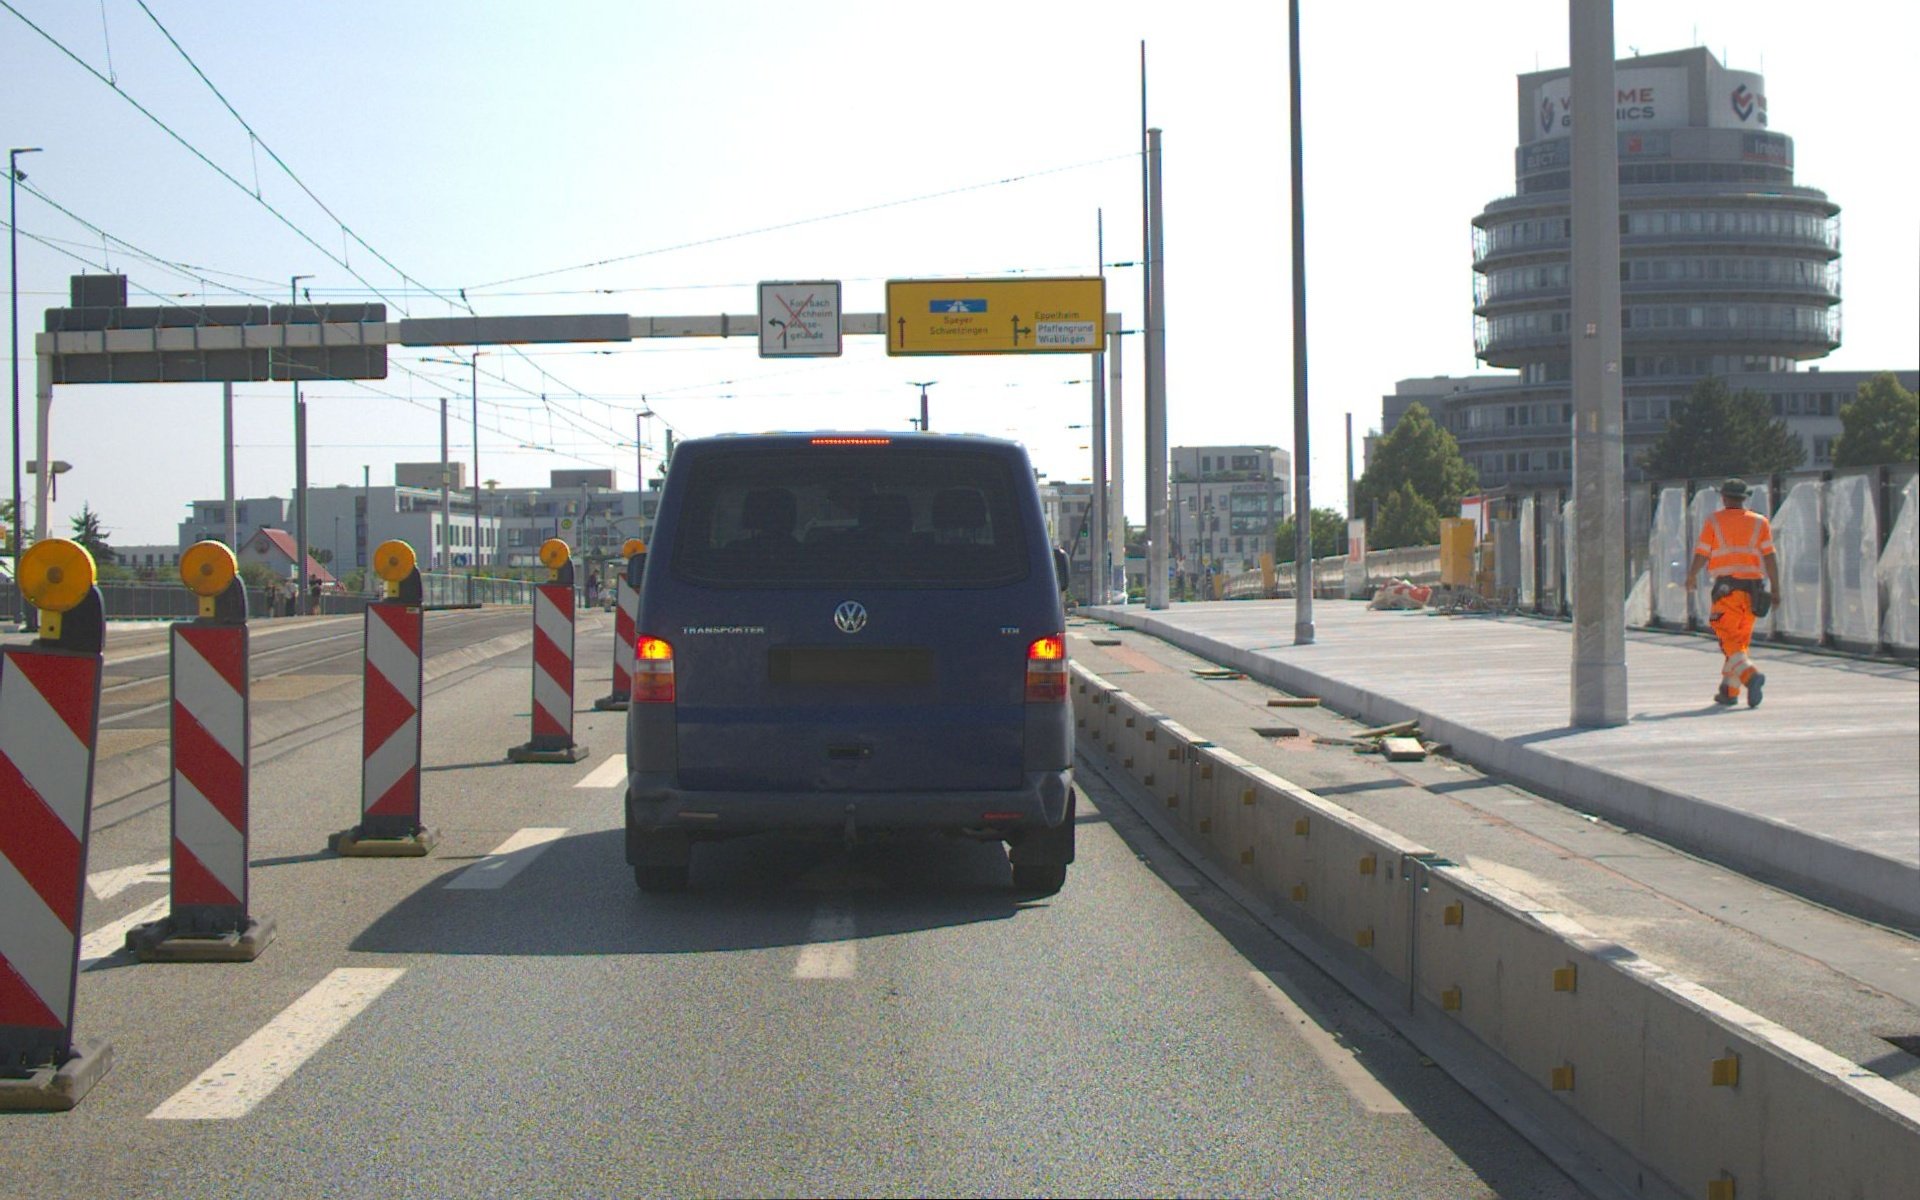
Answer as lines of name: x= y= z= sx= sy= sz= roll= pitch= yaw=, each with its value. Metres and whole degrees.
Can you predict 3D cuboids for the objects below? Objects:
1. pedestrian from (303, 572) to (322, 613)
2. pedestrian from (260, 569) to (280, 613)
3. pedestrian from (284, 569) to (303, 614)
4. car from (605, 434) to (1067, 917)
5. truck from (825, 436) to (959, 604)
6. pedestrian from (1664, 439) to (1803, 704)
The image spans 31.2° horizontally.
pedestrian: x=-25.905 y=-0.305 z=137.570 sx=0.634 sy=1.593 sz=0.752 roll=0 pitch=1 yaw=-1
pedestrian: x=-27.083 y=-0.356 z=134.958 sx=0.634 sy=1.746 sz=0.752 roll=0 pitch=1 yaw=-2
pedestrian: x=-26.162 y=-0.338 z=134.964 sx=0.634 sy=1.768 sz=0.752 roll=0 pitch=1 yaw=-1
car: x=-0.580 y=0.246 z=15.666 sx=1.815 sy=1.899 sz=4.055 roll=-1 pitch=1 yaw=-3
truck: x=-1.391 y=-1.686 z=70.137 sx=2.460 sy=3.124 sz=11.217 roll=-1 pitch=2 yaw=-1
pedestrian: x=5.783 y=-0.213 z=25.733 sx=0.782 sy=1.928 sz=0.799 roll=-2 pitch=0 yaw=-1
